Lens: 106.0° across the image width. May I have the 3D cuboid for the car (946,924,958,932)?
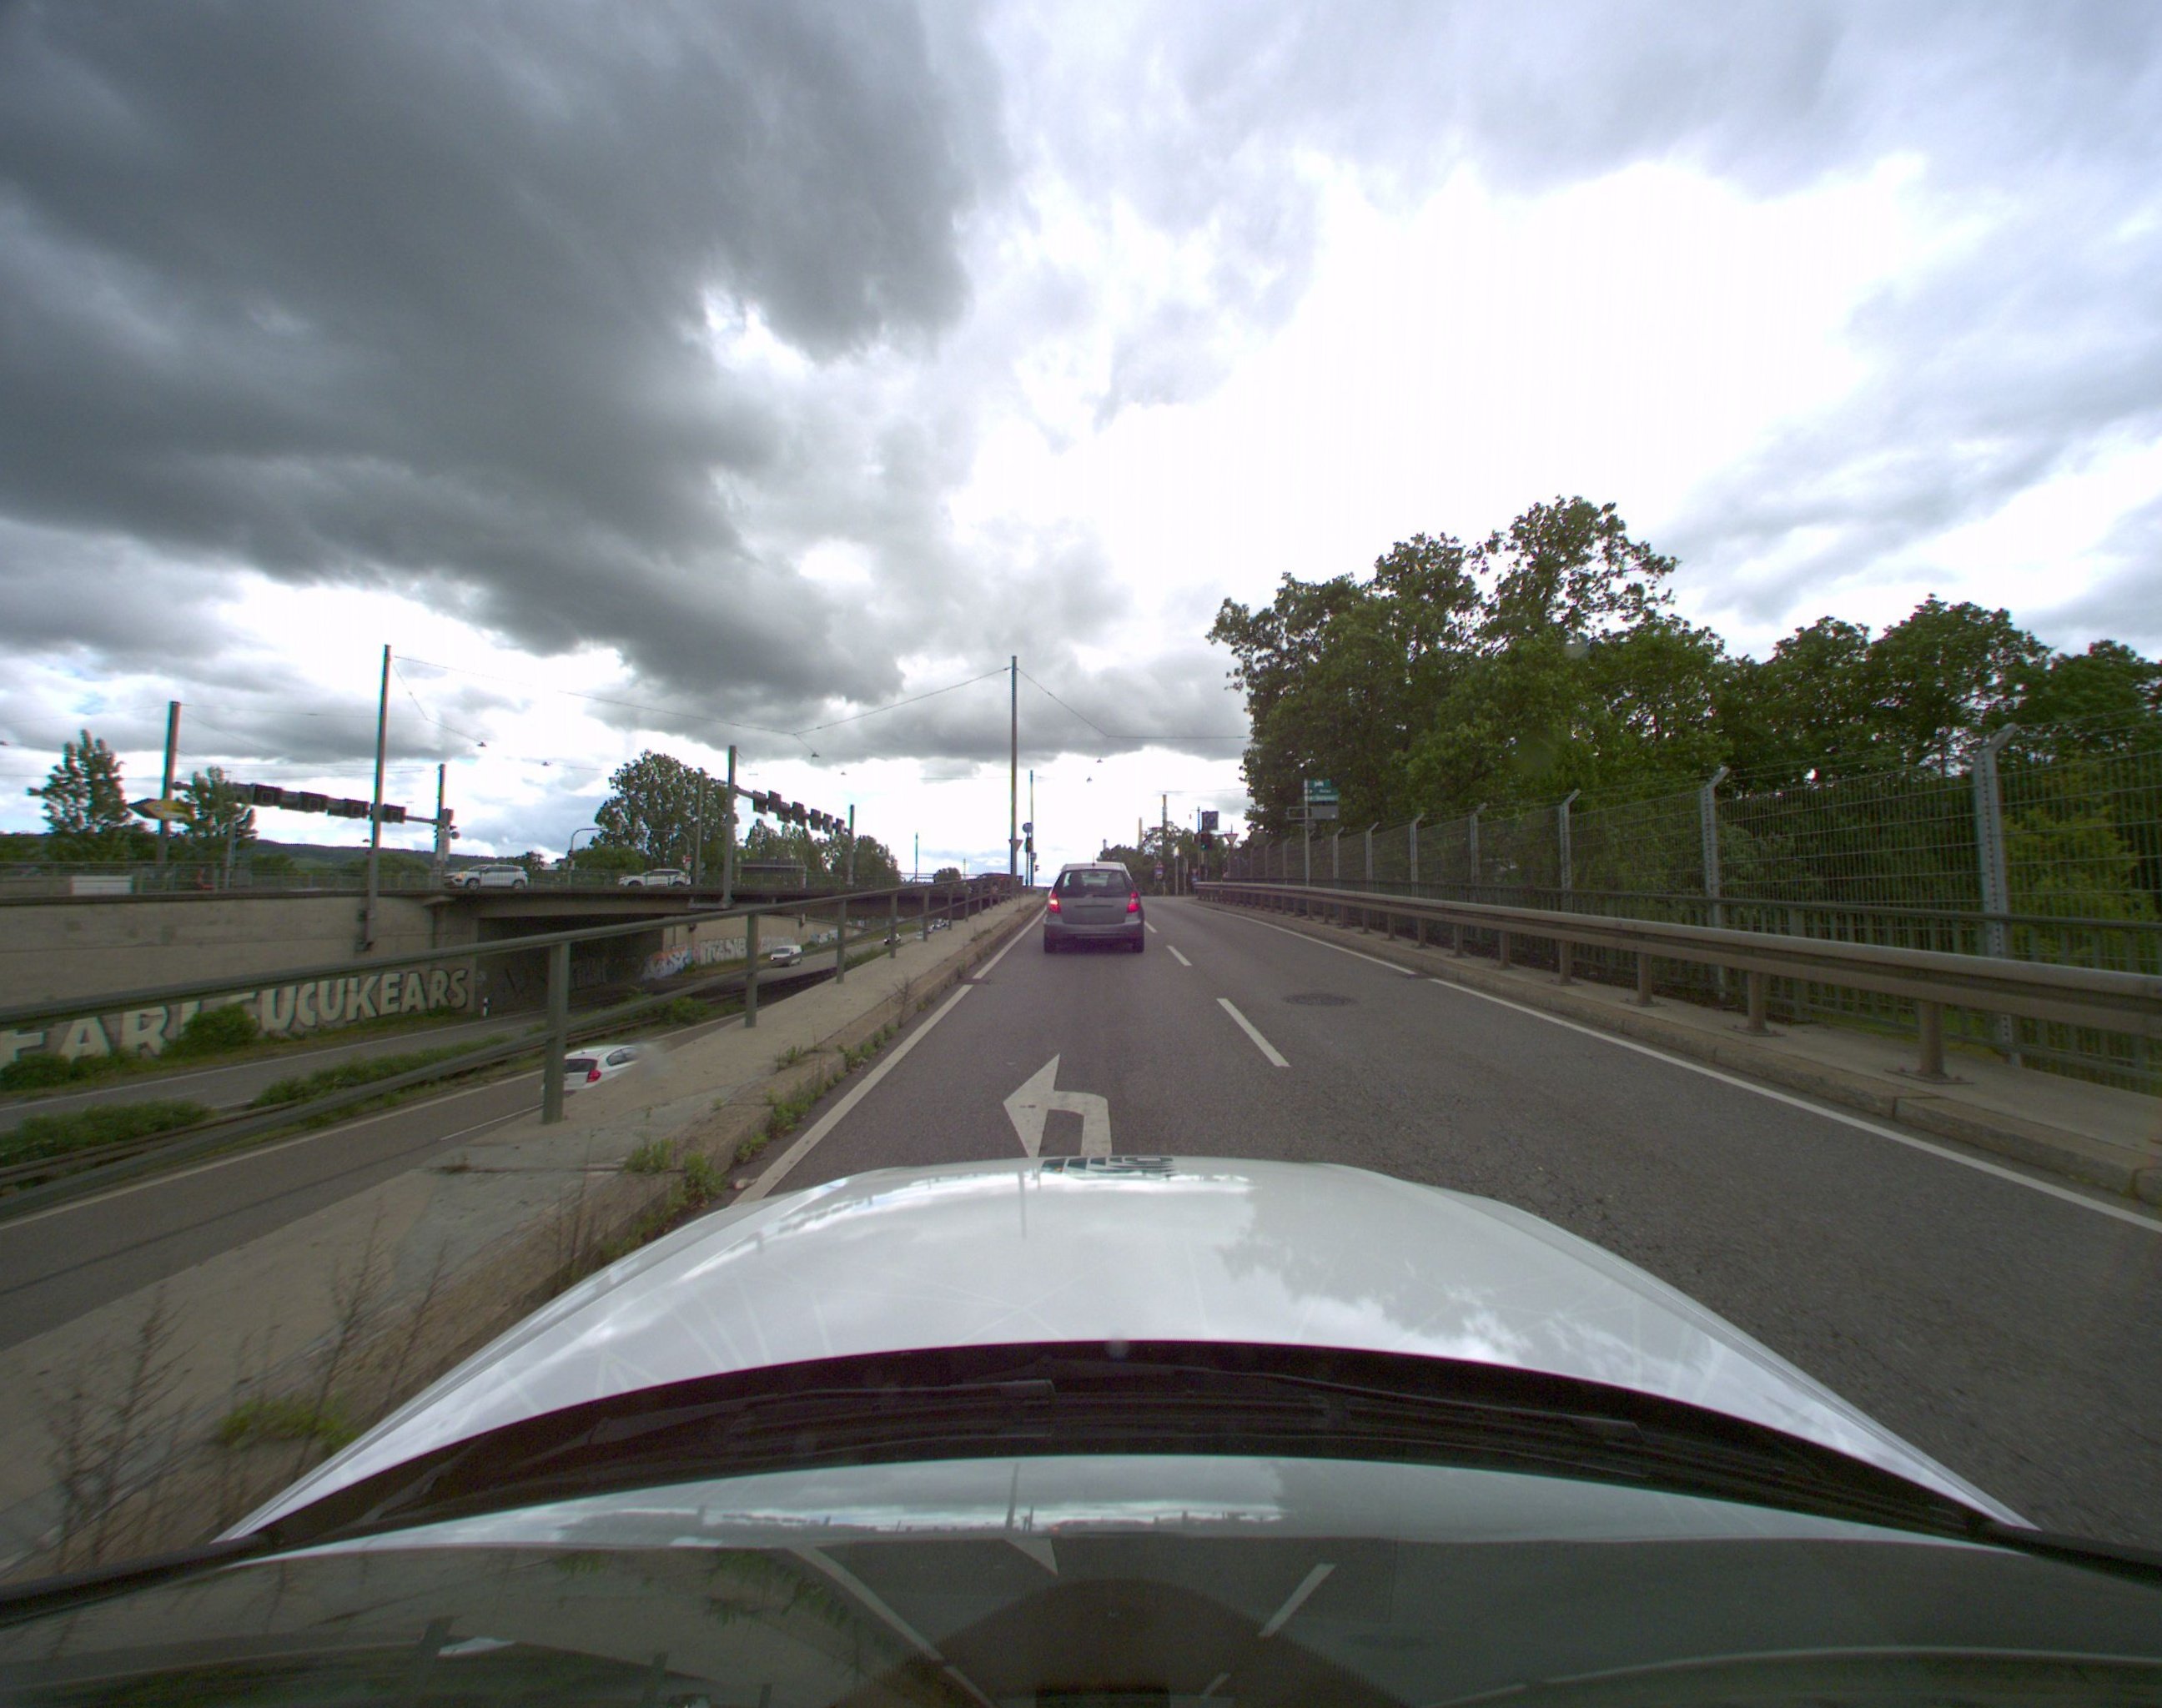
[{"bbox_3d":[-30.119,17.316,190.096,1.987,1.842,4.421,0,-4,0],"label":"car"}]

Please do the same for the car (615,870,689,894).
[{"bbox_3d":[-29.307,1.886,55.646,4.362,1.576,1.820,0,-2,-33],"label":"car"}]

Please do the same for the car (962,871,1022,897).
[{"bbox_3d":[-6.153,2.075,56.808,3.976,1.717,1.936,0,-1,-2],"label":"car"}]

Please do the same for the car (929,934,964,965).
[{"bbox_3d":[-12.576,8.936,76.533,1.986,2.686,5.933,0,-5,2],"label":"car"}]

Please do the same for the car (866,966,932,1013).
[{"bbox_3d":[-9.027,6.725,40.839,1.986,1.877,5.199,-1,-5,2],"label":"car"}]

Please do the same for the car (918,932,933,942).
[{"bbox_3d":[-25.682,13.719,134.907,1.723,1.528,4.084,0,-4,0],"label":"car"}]

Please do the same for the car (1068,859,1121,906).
[{"bbox_3d":[0.471,1.104,32.398,1.926,1.717,4.402,0,-1,-2],"label":"car"}]

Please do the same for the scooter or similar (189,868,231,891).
[{"bbox_3d":[-42.144,1.237,39.413,0.542,1.094,1.414,-1,-3,-4],"label":"scooter or similar"}]

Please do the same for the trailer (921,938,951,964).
[{"bbox_3d":[-12.714,8.529,71.689,1.722,2.130,3.936,0,-5,2],"label":"trailer"}]

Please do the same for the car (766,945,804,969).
[{"bbox_3d":[-29.550,10.267,81.392,1.988,2.068,5.172,0,-4,-2],"label":"car"}]

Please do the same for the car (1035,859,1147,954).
[{"bbox_3d":[0.238,0.908,15.602,1.850,1.588,4.002,0,-1,2],"label":"car"}]

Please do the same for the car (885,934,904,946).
[{"bbox_3d":[-28.757,13.251,125.617,1.910,1.739,4.549,-1,-4,-1],"label":"car"}]

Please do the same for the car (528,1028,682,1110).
[{"bbox_3d":[-13.126,5.917,22.810,1.736,1.452,4.165,-1,-4,1],"label":"car"}]

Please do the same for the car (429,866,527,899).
[{"bbox_3d":[-35.811,1.635,48.489,1.976,1.870,4.236,-1,-1,23],"label":"car"}]

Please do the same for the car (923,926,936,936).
[{"bbox_3d":[-31.878,16.208,171.246,1.925,1.842,4.407,-1,-4,0],"label":"car"}]

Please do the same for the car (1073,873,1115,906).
[{"bbox_3d":[0.680,1.954,45.554,1.928,1.717,3.993,0,-1,-5],"label":"car"}]

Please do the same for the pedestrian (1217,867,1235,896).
[{"bbox_3d":[8.407,1.602,47.219,0.831,1.678,0.978,-1,-5,-3],"label":"pedestrian"}]

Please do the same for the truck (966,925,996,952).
[{"bbox_3d":[-13.071,11.016,106.953,2.736,3.294,7.442,0,-4,2],"label":"truck"}]

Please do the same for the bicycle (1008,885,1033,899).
[{"bbox_3d":[-5.059,3.150,67.870,2.033,1.125,0.926,0,-1,-11],"label":"bicycle"}]
